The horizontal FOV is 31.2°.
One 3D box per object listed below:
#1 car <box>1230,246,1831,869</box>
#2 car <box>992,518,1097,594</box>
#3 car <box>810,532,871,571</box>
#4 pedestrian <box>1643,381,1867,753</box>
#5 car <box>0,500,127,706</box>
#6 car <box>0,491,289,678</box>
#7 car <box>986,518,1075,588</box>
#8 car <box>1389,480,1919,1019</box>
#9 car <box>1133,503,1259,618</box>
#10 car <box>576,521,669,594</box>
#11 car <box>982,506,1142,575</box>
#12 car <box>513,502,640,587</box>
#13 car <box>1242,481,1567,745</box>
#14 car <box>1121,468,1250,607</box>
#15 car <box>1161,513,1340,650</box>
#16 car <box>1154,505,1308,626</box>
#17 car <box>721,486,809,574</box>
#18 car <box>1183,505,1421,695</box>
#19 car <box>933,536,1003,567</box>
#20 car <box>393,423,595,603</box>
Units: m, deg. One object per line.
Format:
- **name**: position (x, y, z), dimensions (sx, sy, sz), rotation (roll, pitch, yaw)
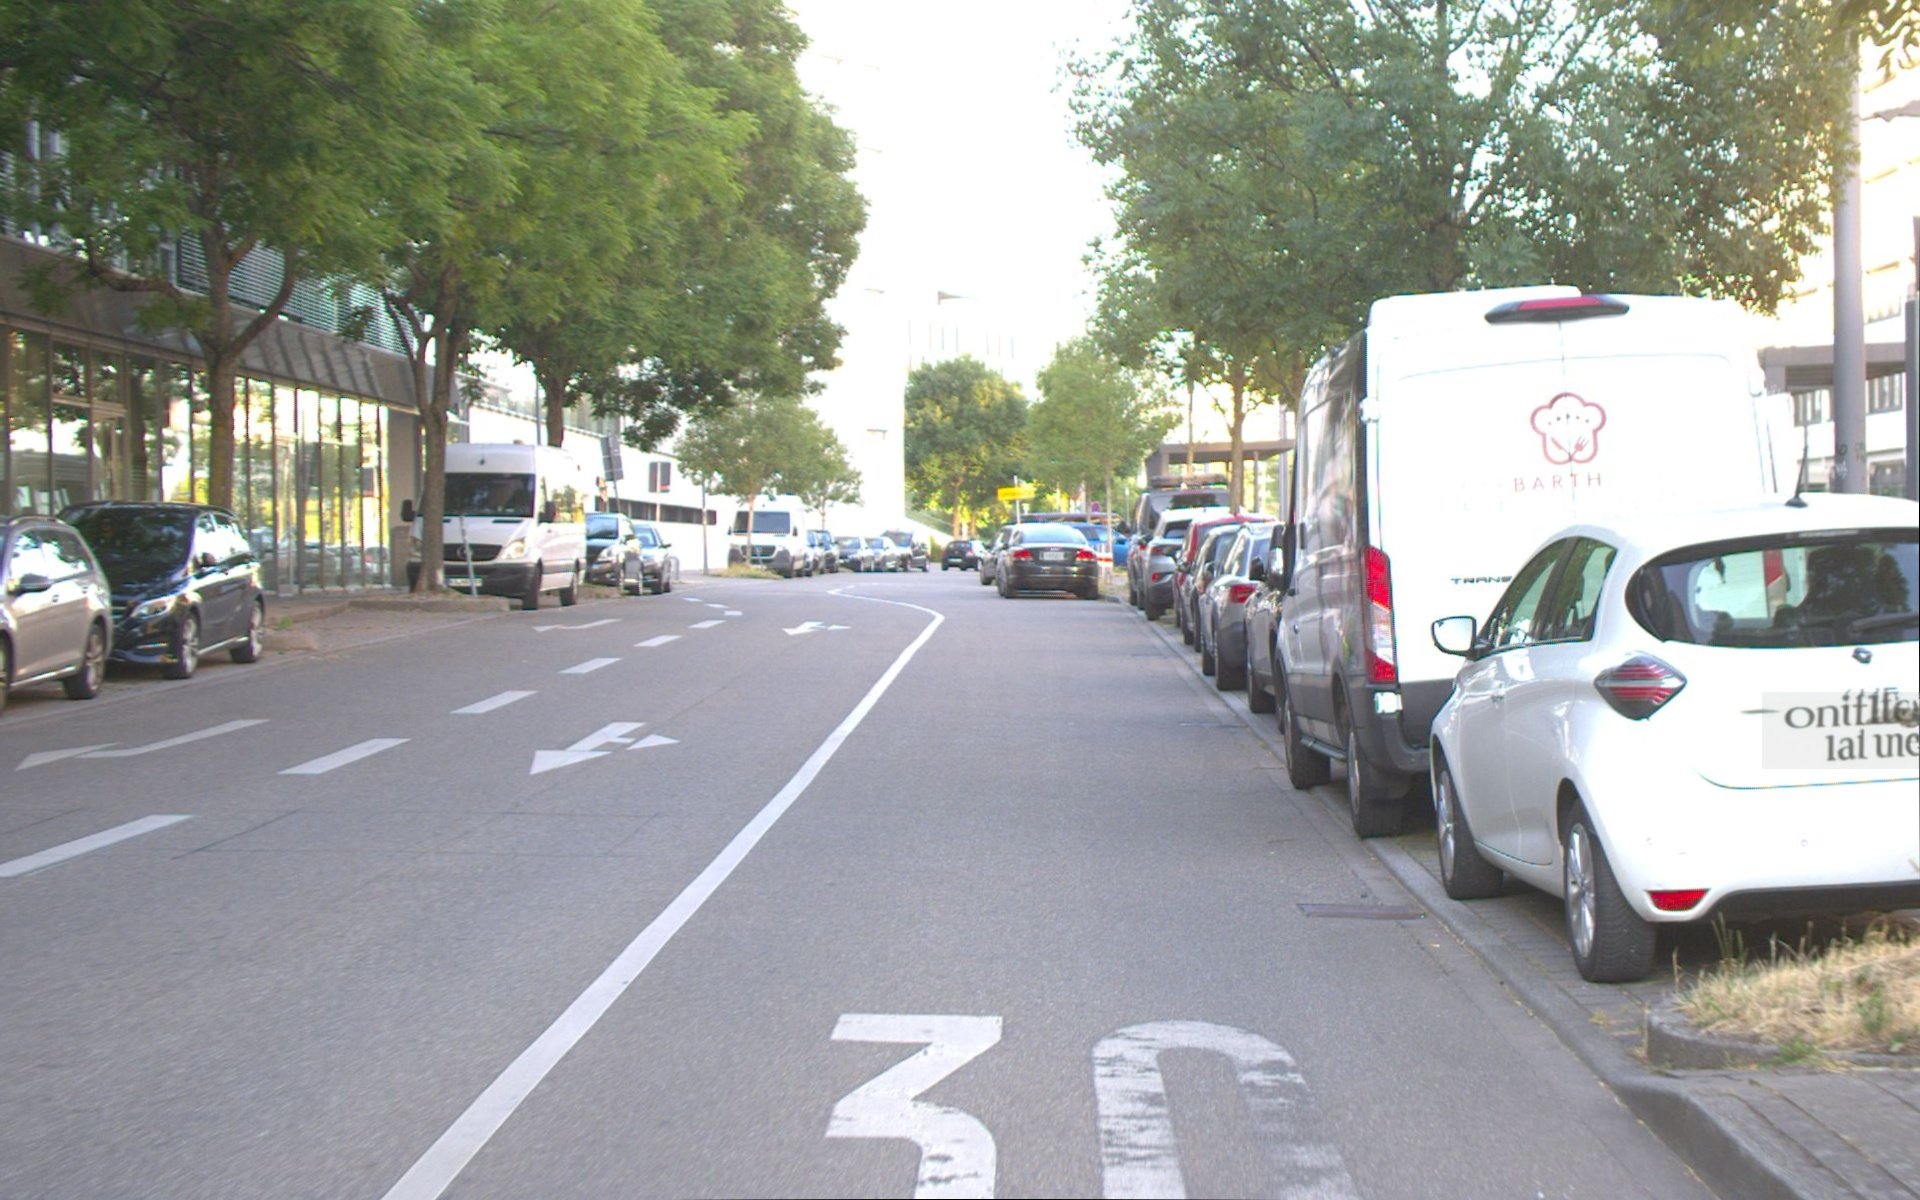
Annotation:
- **car**: position (2.751, -0.243, 17.996), dimensions (2.051, 2.648, 5.435), rotation (-4, 1, 0)
- **car**: position (1.622, -0.891, 67.549), dimensions (1.787, 1.447, 4.516), rotation (0, 1, -2)
- **car**: position (-4.733, -1.938, 136.671), dimensions (1.723, 1.452, 4.270), rotation (2, 1, 8)
- **pedestrian**: position (4.436, -0.192, 19.179), dimensions (0.977, 2.007, 0.807), rotation (-1, 1, -44)
- **car**: position (-7.751, -0.027, 25.911), dimensions (1.703, 1.456, 4.627), rotation (3, 1, 1)
- **car**: position (-7.567, -0.189, 32.164), dimensions (1.590, 1.563, 4.471), rotation (3, 1, 1)
- **car**: position (1.482, -1.020, 73.369), dimensions (1.676, 1.447, 4.188), rotation (0, 1, -2)
- **car**: position (2.749, 0.401, 12.541), dimensions (1.748, 1.578, 4.013), rotation (-4, 1, 0)
- **car**: position (3.481, -0.607, 51.306), dimensions (1.707, 1.575, 4.479), rotation (-2, 1, 2)
- **car**: position (-6.907, -0.902, 70.660), dimensions (1.714, 1.447, 4.400), rotation (0, 1, -3)
- **car**: position (3.143, -1.820, 105.497), dimensions (4.588, 2.028, 1.871), rotation (0, 2, -32)
- **car**: position (-7.237, -1.066, 65.176), dimensions (1.844, 1.566, 4.267), rotation (0, 1, 1)
- **car**: position (3.041, 0.045, 24.294), dimensions (1.707, 1.637, 4.267), rotation (-2, 1, 0)
- **car**: position (3.730, -1.041, 57.639), dimensions (1.804, 2.169, 4.736), rotation (-2, 1, 0)
- **car**: position (3.312, -0.243, 39.818), dimensions (1.707, 1.446, 4.000), rotation (-2, 1, 0)
- **car**: position (3.584, -0.476, 46.037), dimensions (1.707, 1.488, 4.131), rotation (-2, 1, 0)
- **car**: position (-6.027, -2.192, 107.063), dimensions (1.958, 2.608, 6.892), rotation (2, 1, 3)
- **car**: position (3.031, -0.055, 31.319), dimensions (1.796, 1.491, 4.780), rotation (-4, 1, 2)
- **car**: position (0.399, -2.225, 157.483), dimensions (1.946, 1.378, 4.395), rotation (2, 1, 18)
- **car**: position (-7.250, -1.361, 54.257), dimensions (2.100, 2.654, 6.951), rotation (0, 1, 1)
